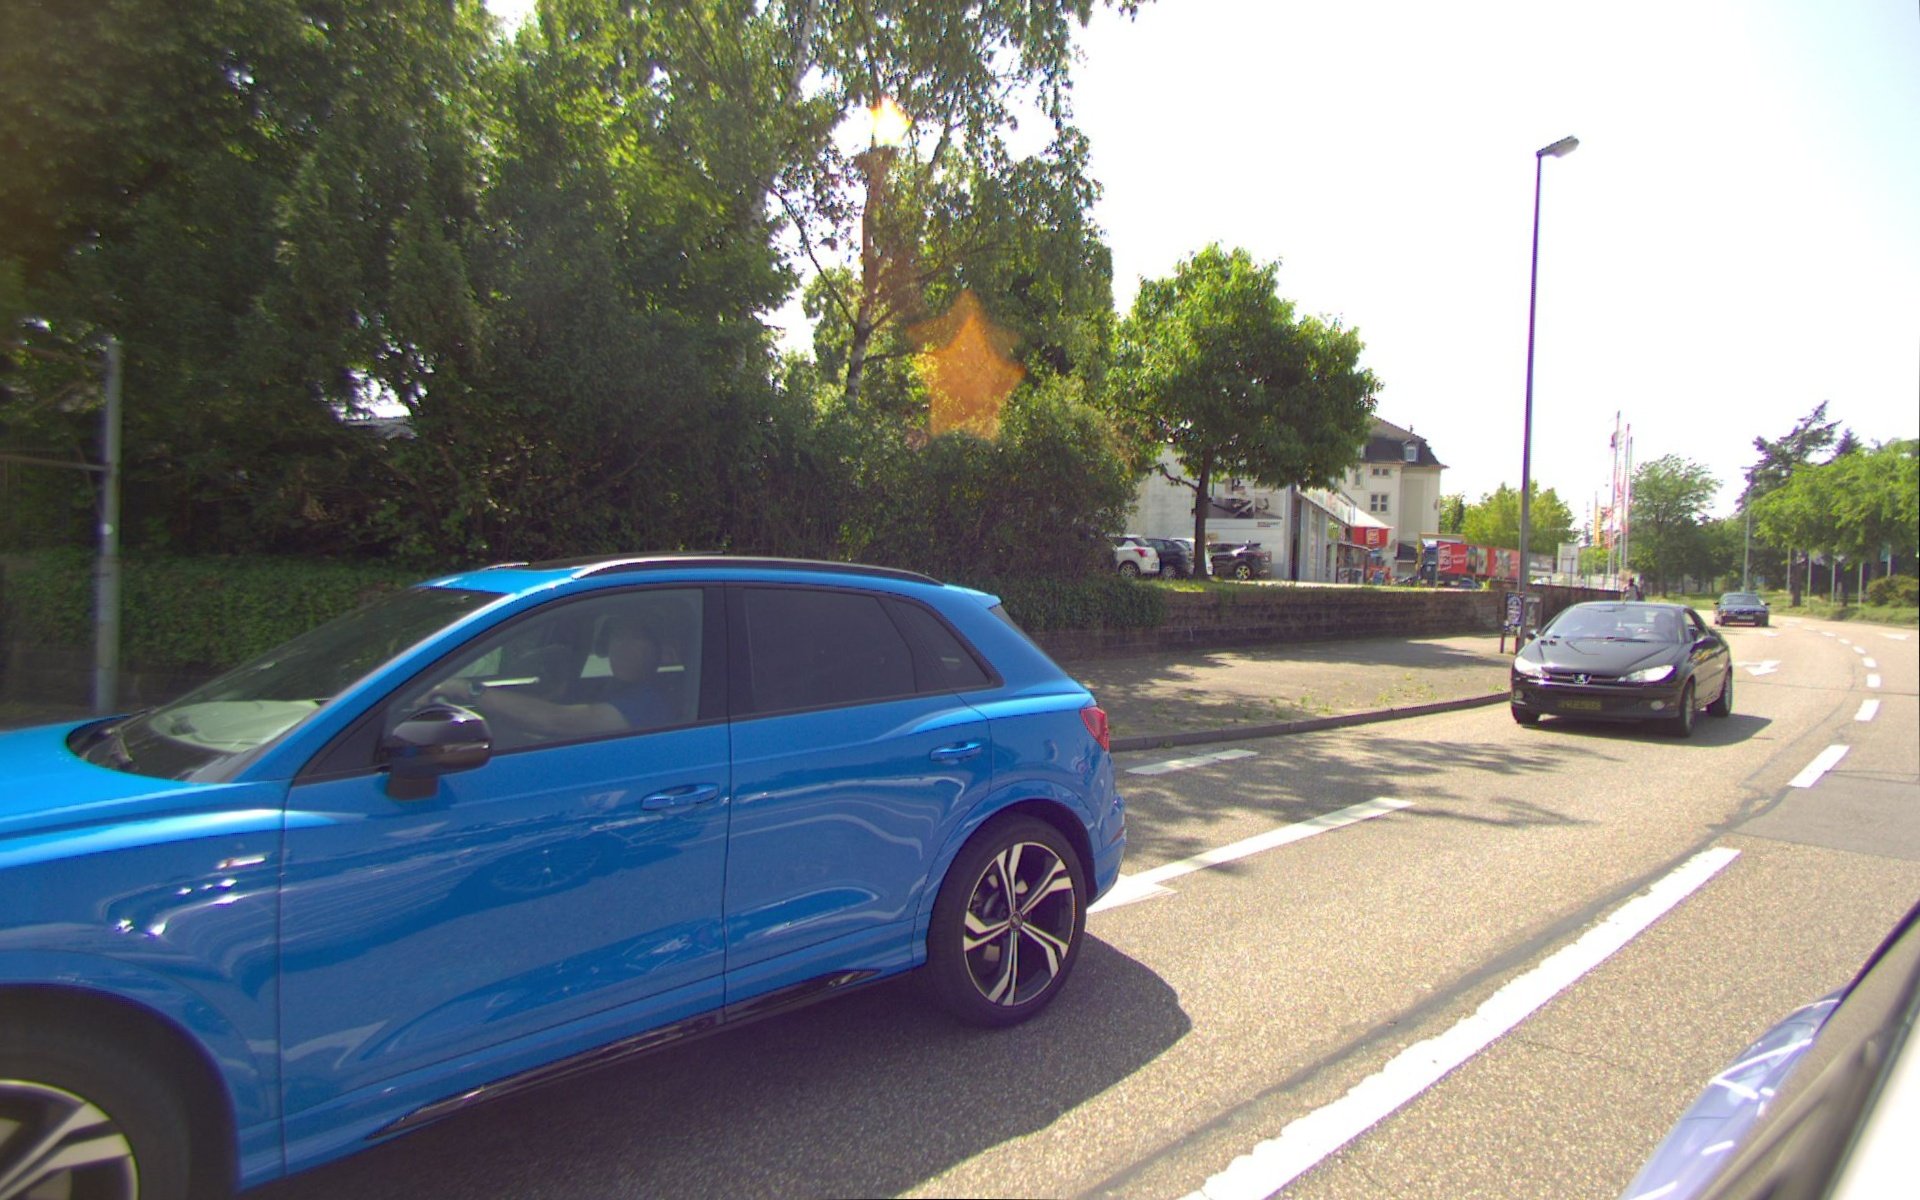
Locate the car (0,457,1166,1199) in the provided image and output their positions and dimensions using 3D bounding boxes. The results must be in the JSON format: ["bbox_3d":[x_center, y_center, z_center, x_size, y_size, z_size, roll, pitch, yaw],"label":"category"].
[{"bbox_3d":[-1.495,0.527,3.177,4.317,1.617,1.917,0,2,-40],"label":"car"}]

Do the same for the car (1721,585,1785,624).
[{"bbox_3d":[33.156,0.152,42.390,1.687,1.390,3.955,3,4,33],"label":"car"}]

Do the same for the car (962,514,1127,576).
[{"bbox_3d":[2.161,-1.374,26.259,3.768,1.502,2.004,0,1,-17],"label":"car"}]

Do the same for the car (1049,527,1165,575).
[{"bbox_3d":[4.603,-1.514,31.720,3.262,1.429,1.514,1,1,30],"label":"car"}]

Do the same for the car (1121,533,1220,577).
[{"bbox_3d":[7.483,-1.603,36.011,3.131,1.490,1.486,2,1,33],"label":"car"}]

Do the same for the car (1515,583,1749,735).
[{"bbox_3d":[7.781,0.557,11.584,1.600,1.443,3.603,2,1,44],"label":"car"}]

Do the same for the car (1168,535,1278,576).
[{"bbox_3d":[10.551,-1.796,40.639,3.964,1.559,1.721,2,1,29],"label":"car"}]

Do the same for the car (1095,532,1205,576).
[{"bbox_3d":[6.335,-1.518,33.770,3.292,1.403,1.642,1,1,30],"label":"car"}]
